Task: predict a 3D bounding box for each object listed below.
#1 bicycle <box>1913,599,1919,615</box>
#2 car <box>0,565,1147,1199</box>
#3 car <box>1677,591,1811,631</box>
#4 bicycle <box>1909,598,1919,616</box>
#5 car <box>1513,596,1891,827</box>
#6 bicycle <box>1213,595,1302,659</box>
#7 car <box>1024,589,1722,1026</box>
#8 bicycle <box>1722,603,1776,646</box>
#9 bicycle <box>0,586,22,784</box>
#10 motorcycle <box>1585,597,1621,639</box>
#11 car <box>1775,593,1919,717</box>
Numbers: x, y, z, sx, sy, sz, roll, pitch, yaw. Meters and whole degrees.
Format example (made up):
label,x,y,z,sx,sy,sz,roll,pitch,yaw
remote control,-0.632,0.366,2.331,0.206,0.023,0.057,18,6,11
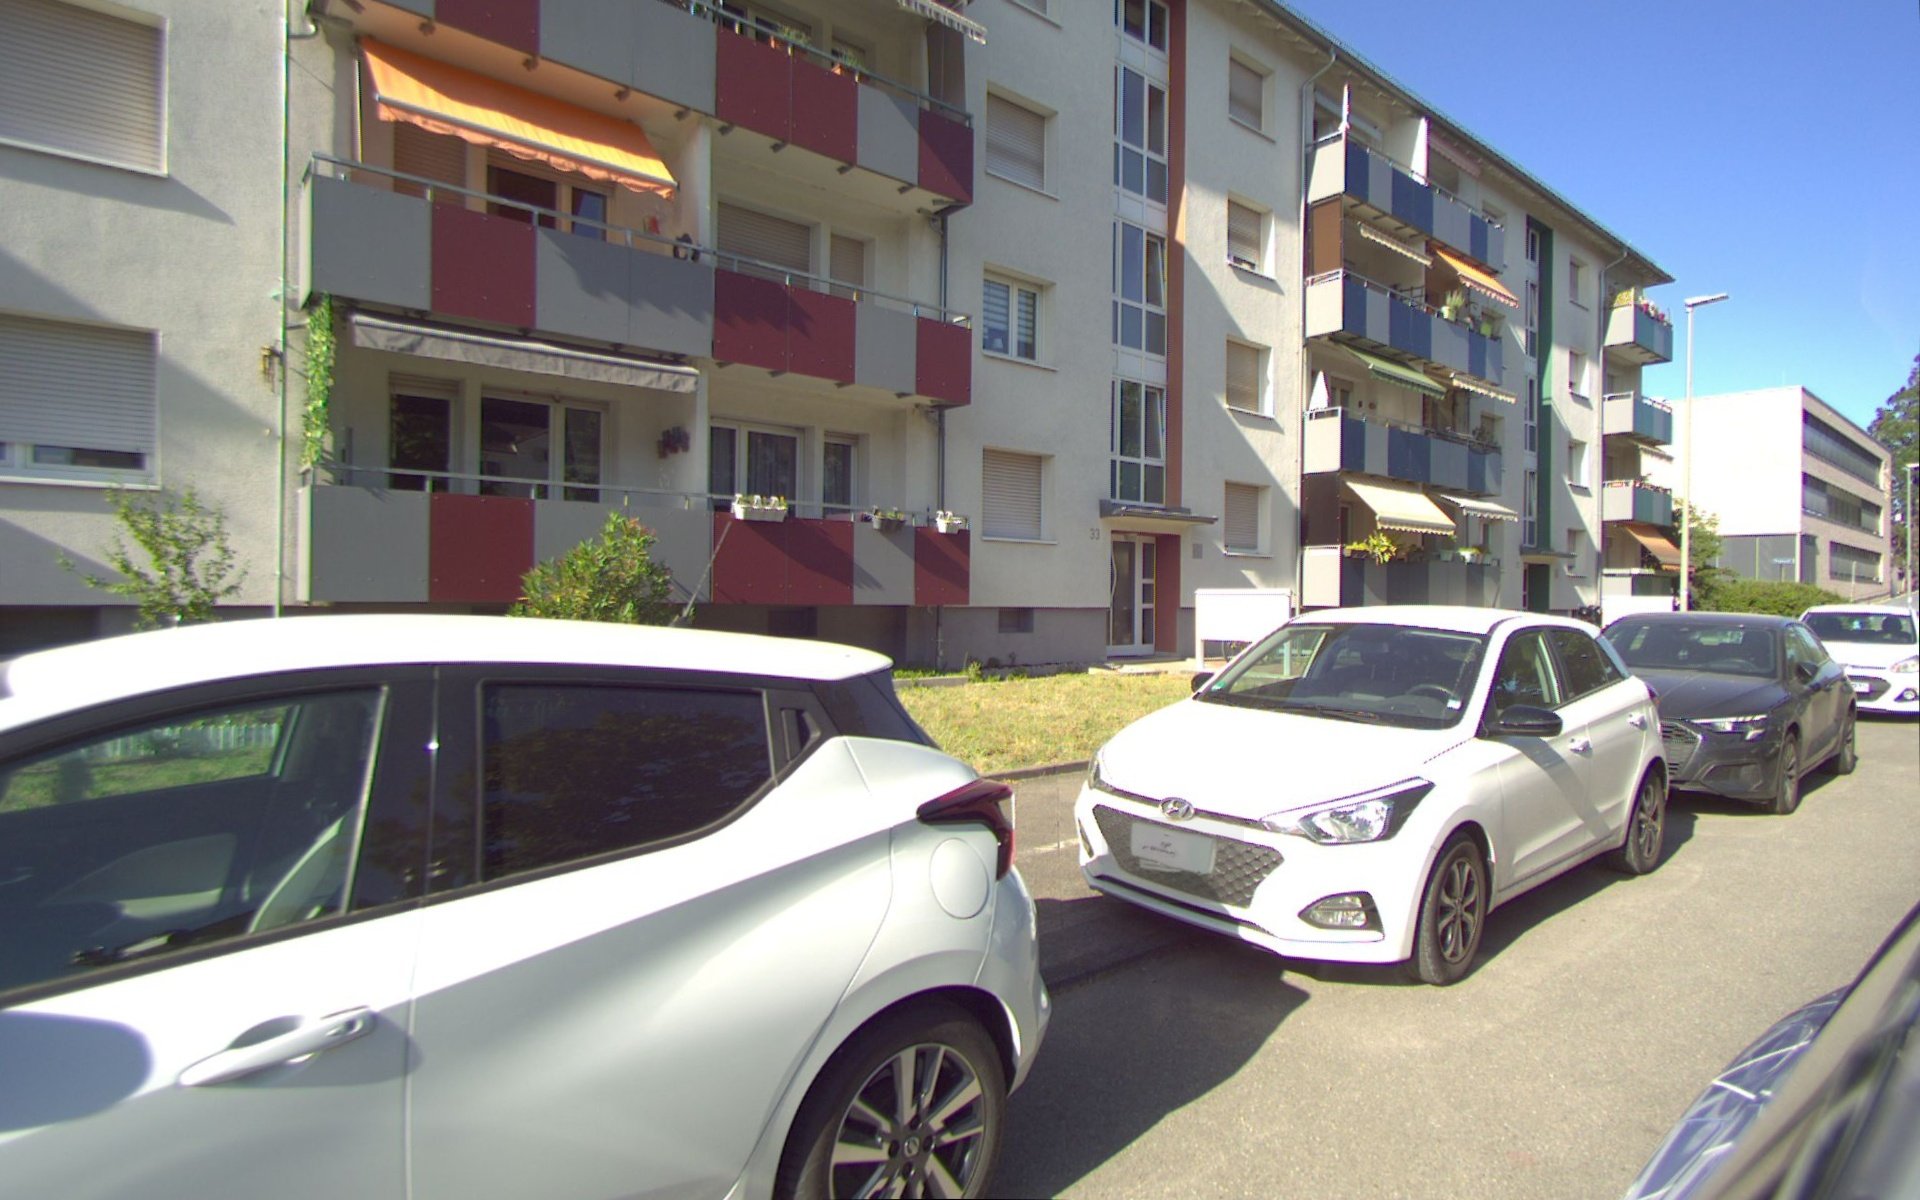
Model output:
label,x,y,z,sx,sy,sz,roll,pitch,yaw
bicycle,63.106,0.504,65.428,0.844,1.077,2.085,0,3,-39
car,-1.677,0.687,2.058,4.066,1.494,1.882,0,1,-40
car,34.515,0.442,44.620,1.881,1.644,4.414,0,1,-41
bicycle,62.110,0.495,64.647,0.867,1.076,2.030,0,3,-40
car,6.563,0.729,8.747,4.394,1.453,1.702,0,2,-41
bicycle,5.404,0.470,18.329,1.974,1.084,0.524,0,3,-41
car,2.418,0.693,5.392,4.078,1.453,1.725,0,1,-40
bicycle,20.978,0.640,26.896,1.862,1.091,0.721,0,0,-38
bicycle,-6.680,0.535,5.715,1.979,1.191,0.597,-2,1,-41
motorcycle,18.684,0.510,29.385,0.582,1.166,2.007,0,1,41
car,12.942,0.680,14.262,3.796,1.517,1.750,0,1,-43
